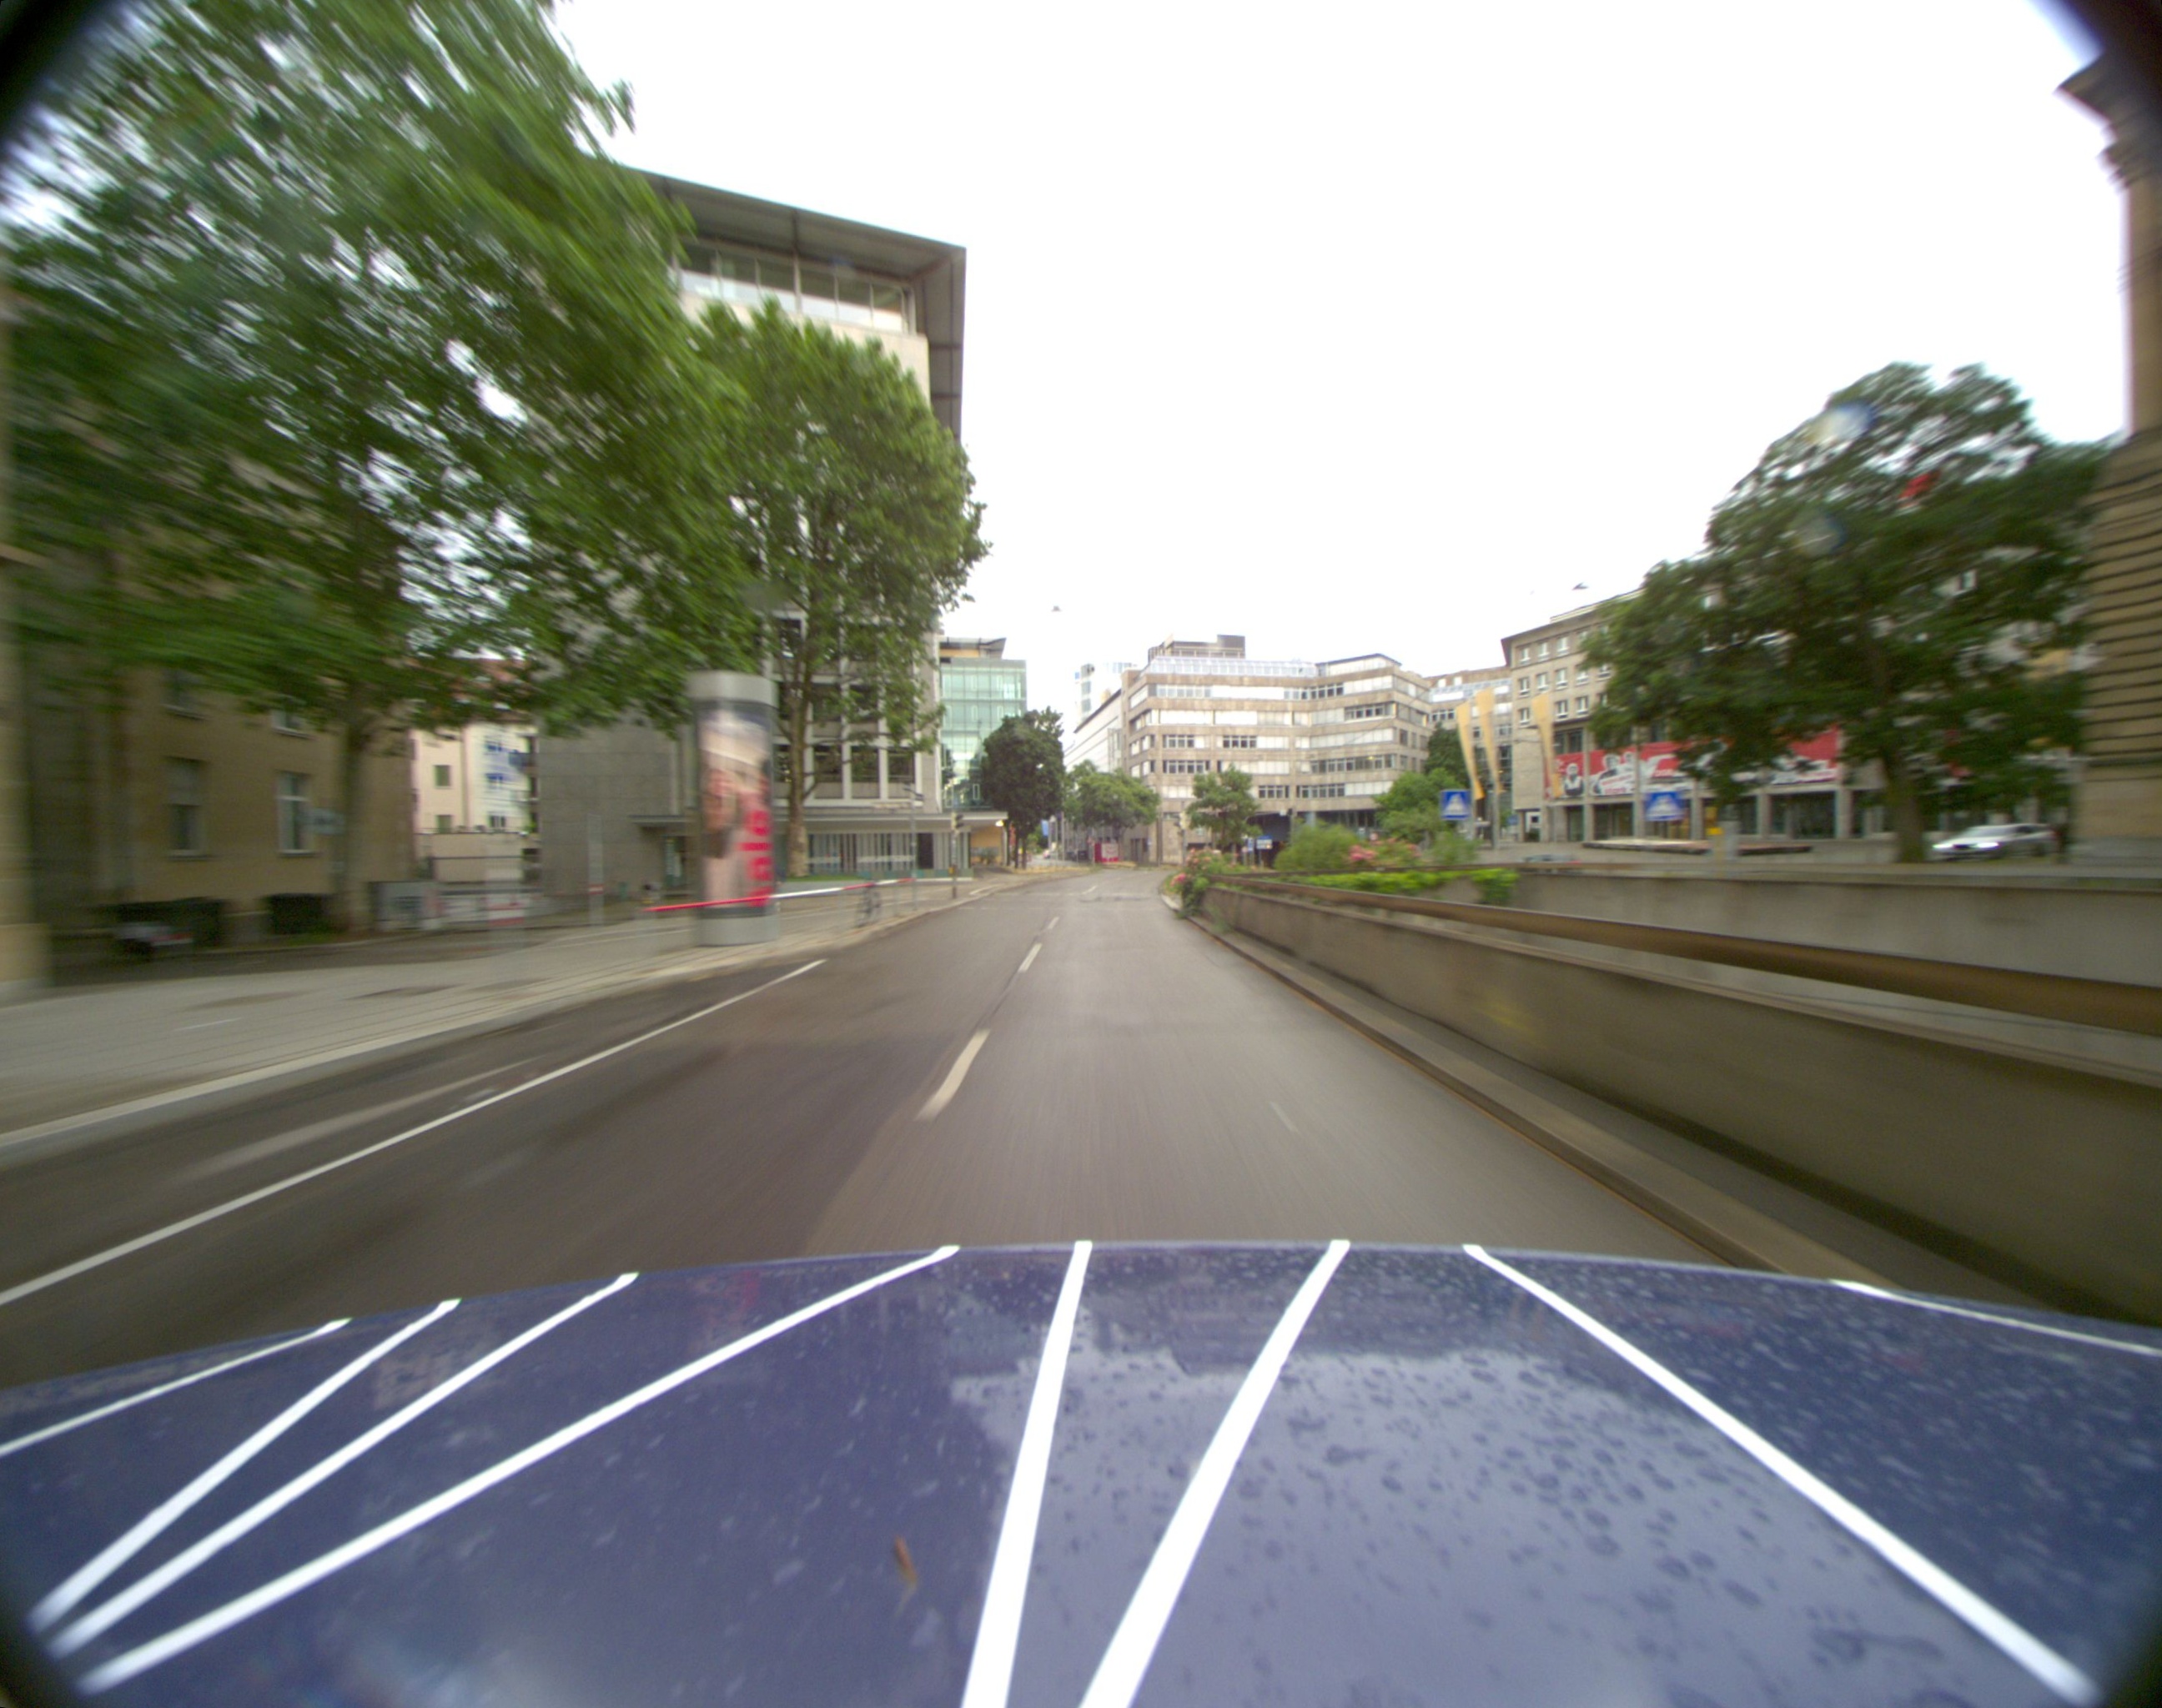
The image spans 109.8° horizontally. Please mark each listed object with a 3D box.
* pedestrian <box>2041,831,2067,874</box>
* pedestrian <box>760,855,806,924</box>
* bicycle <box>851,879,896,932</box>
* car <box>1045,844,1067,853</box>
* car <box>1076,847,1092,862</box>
[{"bbox_3d":[36.680,-0.060,28.635,0.387,1.614,0.498,-1,1,-18],"label":"pedestrian"},{"bbox_3d":[-7.819,0.906,19.954,0.781,1.761,0.863,-1,1,3],"label":"pedestrian"},{"bbox_3d":[-4.504,1.084,16.609,0.490,1.006,1.927,-2,1,-2],"label":"bicycle"},{"bbox_3d":[-4.736,-0.992,144.931,3.776,1.641,1.796,1,0,-23],"label":"car"},{"bbox_3d":[0.400,0.066,109.937,1.999,2.068,3.998,-2,1,-4],"label":"car"}]
